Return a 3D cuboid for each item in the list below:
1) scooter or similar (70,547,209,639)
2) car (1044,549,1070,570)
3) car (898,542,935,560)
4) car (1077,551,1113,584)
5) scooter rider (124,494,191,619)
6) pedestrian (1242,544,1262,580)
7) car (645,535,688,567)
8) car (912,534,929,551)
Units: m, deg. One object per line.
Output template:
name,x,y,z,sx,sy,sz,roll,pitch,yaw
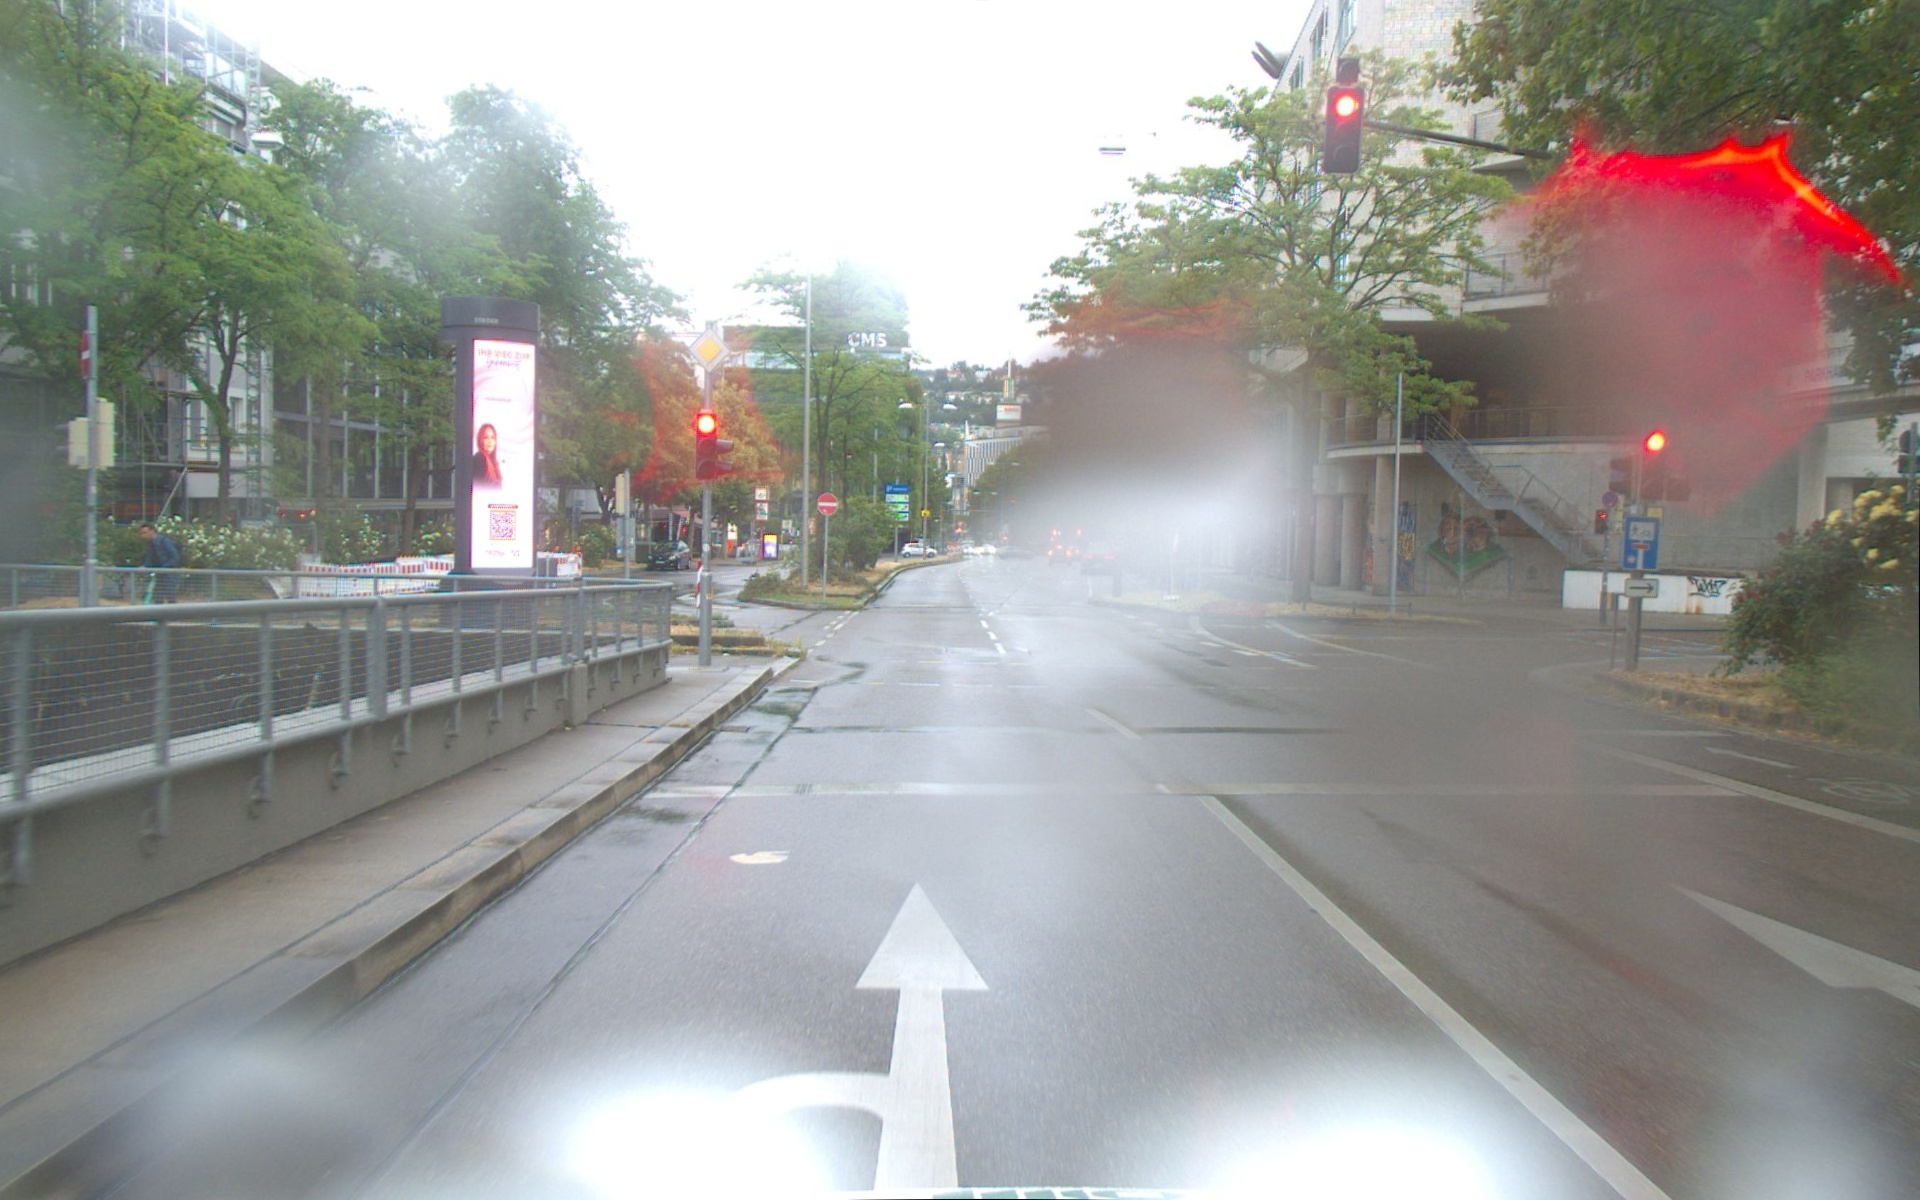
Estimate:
scooter or similar,-13.231,-0.105,26.697,1.933,1.443,0.541,1,1,-37
car,7.517,-3.170,128.586,1.710,1.545,4.106,2,1,-1
car,-4.950,-5.542,187.276,3.978,1.938,1.951,2,1,-7
car,7.432,-1.816,91.458,1.861,1.713,3.913,2,1,3
scooter rider,-13.025,-0.698,26.844,0.813,1.982,0.801,1,1,-36
pedestrian,13.314,-1.742,75.501,0.770,1.584,0.533,2,1,2
car,-16.129,-2.713,91.068,1.744,1.582,3.894,2,3,-1
car,-5.540,-8.101,232.961,2.084,2.202,5.199,2,1,2
